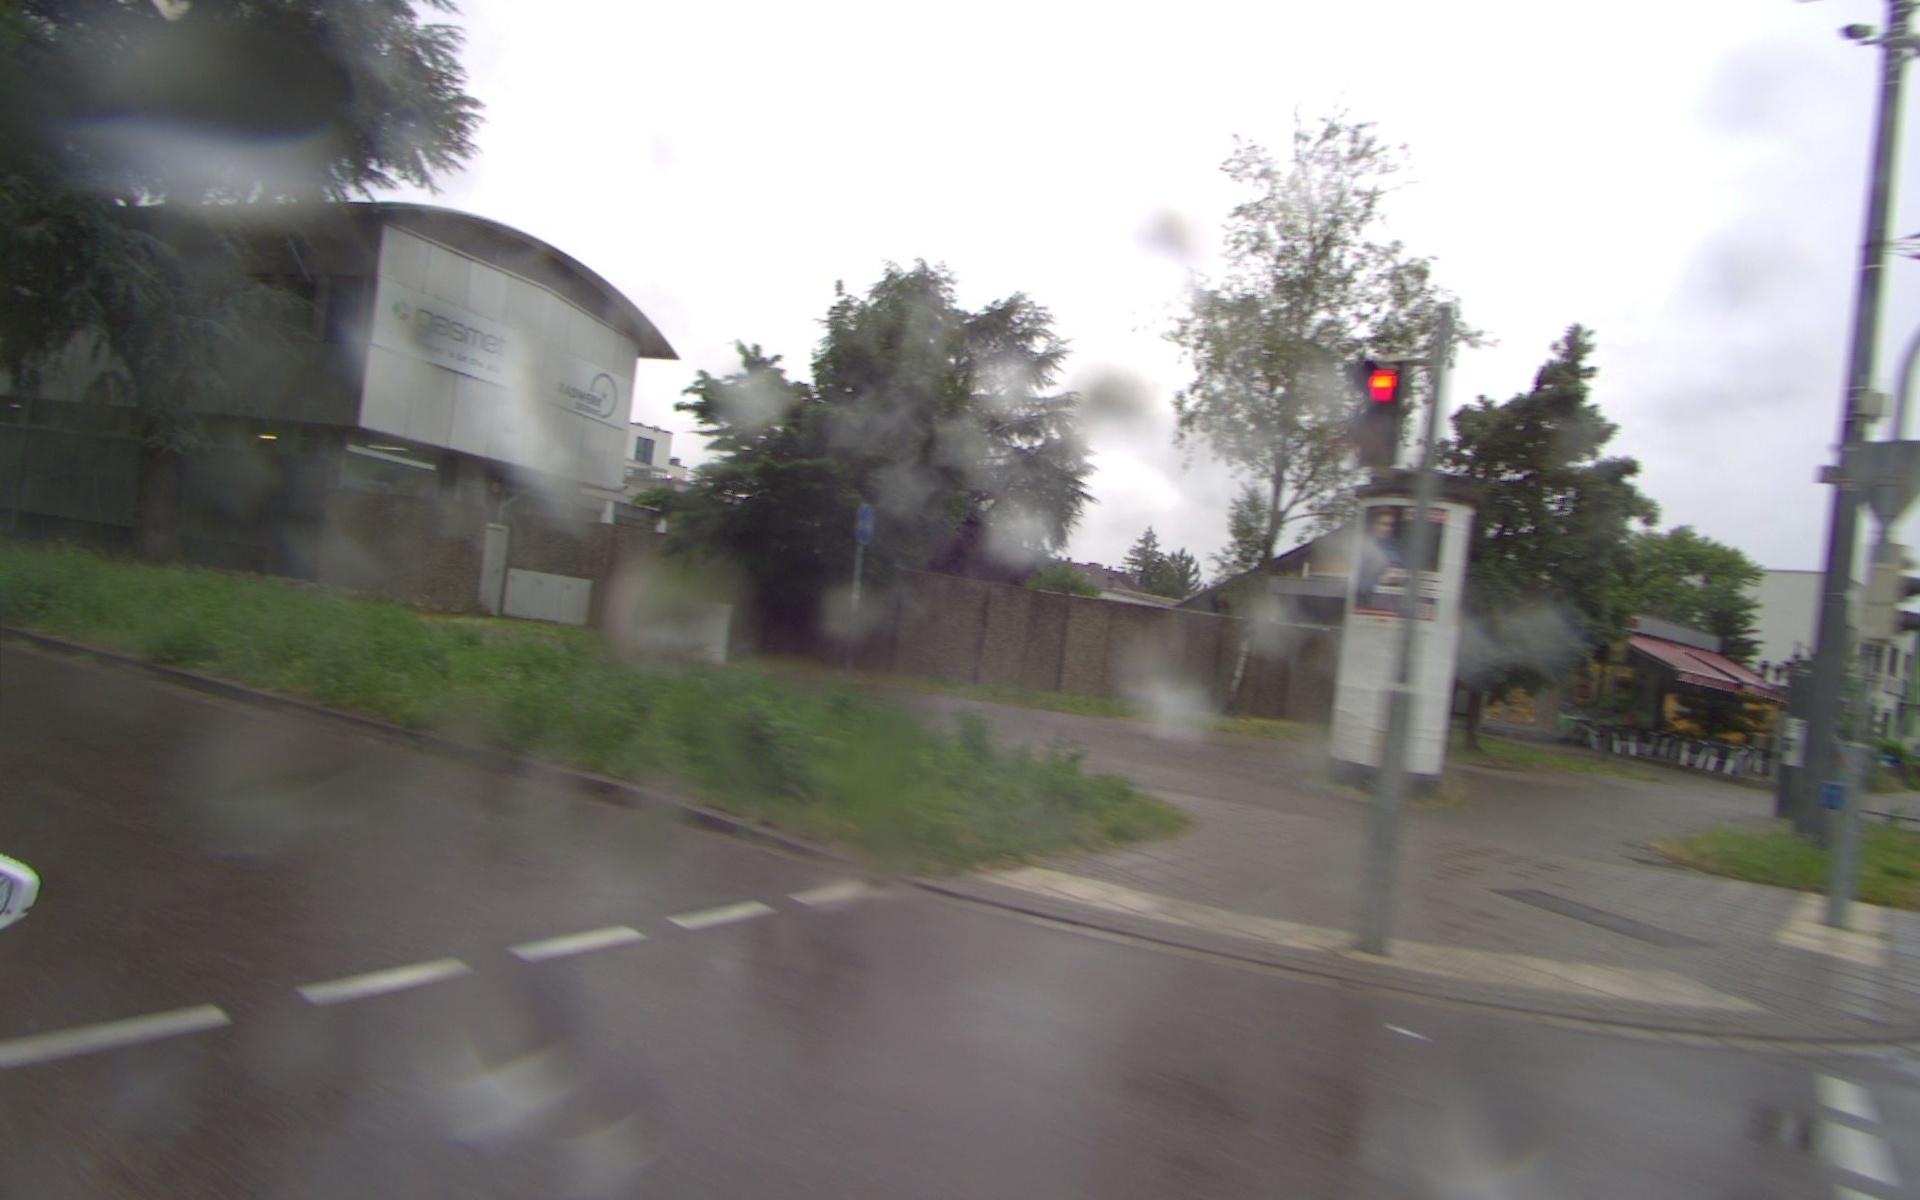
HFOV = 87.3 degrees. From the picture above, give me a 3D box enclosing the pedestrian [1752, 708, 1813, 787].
[{"bbox_3d":[20.972,3.742,25.672,0.713,1.820,0.886,9,2,20],"label":"pedestrian"}]
